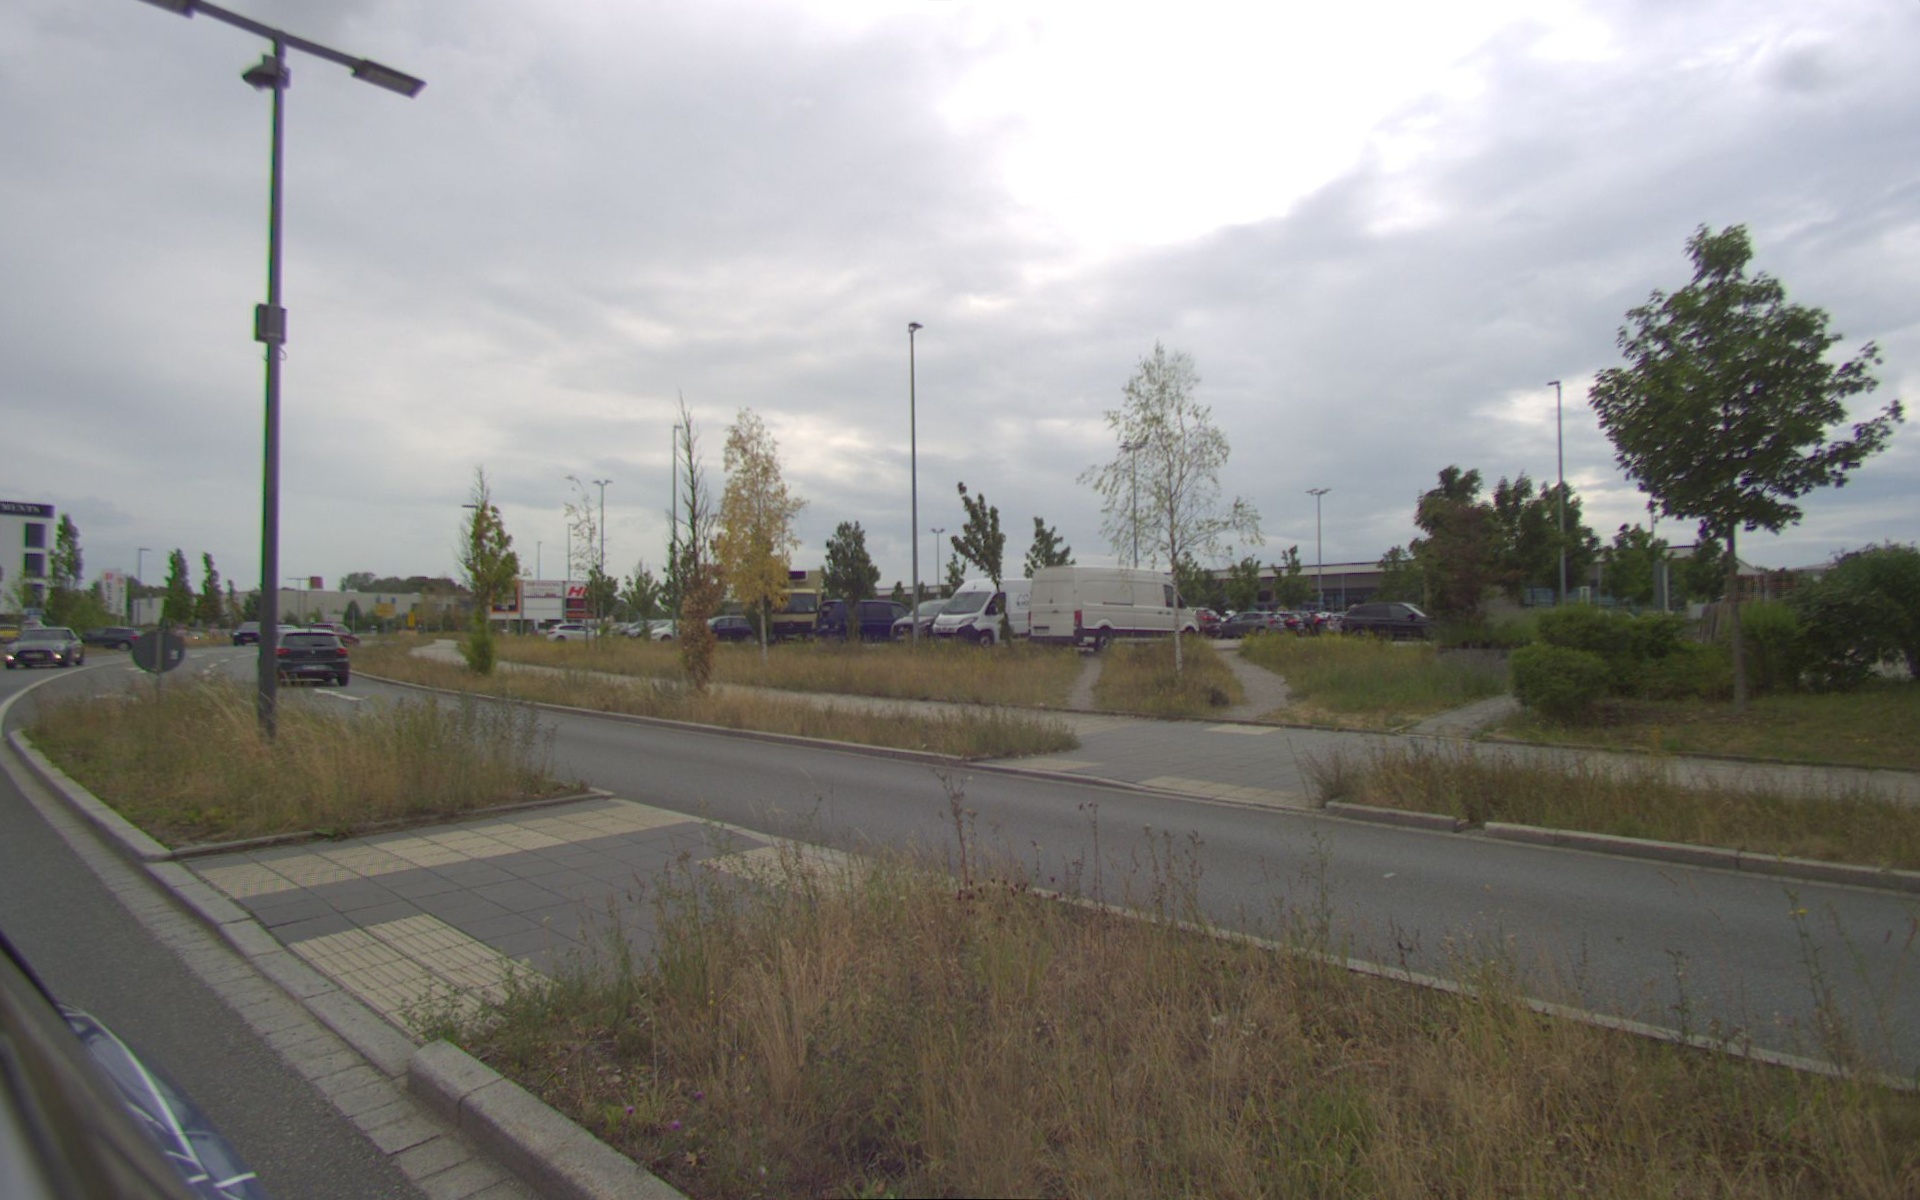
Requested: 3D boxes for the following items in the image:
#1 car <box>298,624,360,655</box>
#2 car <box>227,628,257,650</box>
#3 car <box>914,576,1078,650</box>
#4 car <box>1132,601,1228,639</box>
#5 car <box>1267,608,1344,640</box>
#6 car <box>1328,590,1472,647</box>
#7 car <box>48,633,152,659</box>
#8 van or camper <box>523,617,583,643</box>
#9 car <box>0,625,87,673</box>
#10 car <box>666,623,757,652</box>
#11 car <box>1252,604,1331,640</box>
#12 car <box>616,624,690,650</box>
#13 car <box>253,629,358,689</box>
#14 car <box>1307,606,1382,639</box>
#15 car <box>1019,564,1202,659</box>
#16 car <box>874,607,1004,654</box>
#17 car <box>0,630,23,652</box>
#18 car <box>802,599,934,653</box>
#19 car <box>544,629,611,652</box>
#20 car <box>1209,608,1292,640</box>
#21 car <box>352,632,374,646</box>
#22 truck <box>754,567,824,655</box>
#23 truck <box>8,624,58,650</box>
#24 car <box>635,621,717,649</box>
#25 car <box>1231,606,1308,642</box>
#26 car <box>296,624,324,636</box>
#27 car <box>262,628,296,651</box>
[{"bbox_3d":[-36.635,2.306,58.873,1.774,1.682,4.338,3,-4,-15],"label":"car"},{"bbox_3d":[-54.074,2.928,76.264,1.728,1.597,4.011,0,-2,-33],"label":"car"},{"bbox_3d":[1.355,0.471,34.720,2.211,2.324,6.000,-2,-2,44],"label":"car"},{"bbox_3d":[11.007,1.023,50.787,4.263,1.863,1.974,-2,-2,39],"label":"car"},{"bbox_3d":[21.227,1.493,62.300,1.968,1.912,4.007,1,-2,-39],"label":"car"},{"bbox_3d":[16.615,0.736,38.348,4.638,2.048,1.972,-2,-3,42],"label":"car"},{"bbox_3d":[-49.502,2.643,58.324,4.175,1.431,1.840,0,-2,-12],"label":"car"},{"bbox_3d":[-45.309,3.394,112.789,5.774,2.821,2.249,1,-2,-35],"label":"van or camper"},{"bbox_3d":[-32.550,1.702,35.858,1.727,1.597,4.012,0,-2,-30],"label":"car"},{"bbox_3d":[-12.918,1.938,52.583,4.174,1.446,2.003,1,-3,-32],"label":"car"},{"bbox_3d":[19.700,1.316,60.222,1.968,2.029,4.007,1,-2,-39],"label":"car"},{"bbox_3d":[-19.340,2.323,63.793,4.182,1.525,2.052,0,-2,-26],"label":"car"},{"bbox_3d":[-16.995,1.515,26.195,1.818,1.418,4.007,4,-4,-39],"label":"car"},{"bbox_3d":[24.047,1.440,63.413,1.966,2.029,4.011,1,-2,-33],"label":"car"},{"bbox_3d":[4.735,0.392,30.991,2.245,2.618,6.334,-2,-2,45],"label":"car"},{"bbox_3d":[-0.706,1.116,37.024,1.994,1.629,4.849,-2,-2,42],"label":"car"},{"bbox_3d":[-75.763,3.224,80.238,1.740,1.699,4.420,2,-3,-38],"label":"car"},{"bbox_3d":[-3.644,1.044,40.507,4.838,2.005,2.183,1,-2,-38],"label":"car"},{"bbox_3d":[-26.187,2.751,69.271,4.120,1.480,1.892,1,-2,-27],"label":"car"},{"bbox_3d":[16.081,1.330,56.086,3.996,1.684,1.974,-2,-2,39],"label":"car"},{"bbox_3d":[-75.334,4.914,127.782,1.965,1.649,4.717,3,-3,-26],"label":"car"},{"bbox_3d":[-7.617,0.577,45.571,2.813,3.568,8.444,0,-2,-8],"label":"truck"},{"bbox_3d":[-85.883,3.462,93.845,2.196,2.343,8.235,1,-3,-34],"label":"truck"},{"bbox_3d":[-16.620,2.071,59.238,4.190,1.571,1.994,1,-3,-36],"label":"car"},{"bbox_3d":[17.804,1.396,58.305,1.723,2.029,4.010,1,-2,-35],"label":"car"},{"bbox_3d":[-114.417,5.237,178.183,1.633,2.029,3.966,-1,-2,25],"label":"car"},{"bbox_3d":[-45.426,2.644,67.443,1.680,1.449,4.041,1,-3,-37],"label":"car"}]
